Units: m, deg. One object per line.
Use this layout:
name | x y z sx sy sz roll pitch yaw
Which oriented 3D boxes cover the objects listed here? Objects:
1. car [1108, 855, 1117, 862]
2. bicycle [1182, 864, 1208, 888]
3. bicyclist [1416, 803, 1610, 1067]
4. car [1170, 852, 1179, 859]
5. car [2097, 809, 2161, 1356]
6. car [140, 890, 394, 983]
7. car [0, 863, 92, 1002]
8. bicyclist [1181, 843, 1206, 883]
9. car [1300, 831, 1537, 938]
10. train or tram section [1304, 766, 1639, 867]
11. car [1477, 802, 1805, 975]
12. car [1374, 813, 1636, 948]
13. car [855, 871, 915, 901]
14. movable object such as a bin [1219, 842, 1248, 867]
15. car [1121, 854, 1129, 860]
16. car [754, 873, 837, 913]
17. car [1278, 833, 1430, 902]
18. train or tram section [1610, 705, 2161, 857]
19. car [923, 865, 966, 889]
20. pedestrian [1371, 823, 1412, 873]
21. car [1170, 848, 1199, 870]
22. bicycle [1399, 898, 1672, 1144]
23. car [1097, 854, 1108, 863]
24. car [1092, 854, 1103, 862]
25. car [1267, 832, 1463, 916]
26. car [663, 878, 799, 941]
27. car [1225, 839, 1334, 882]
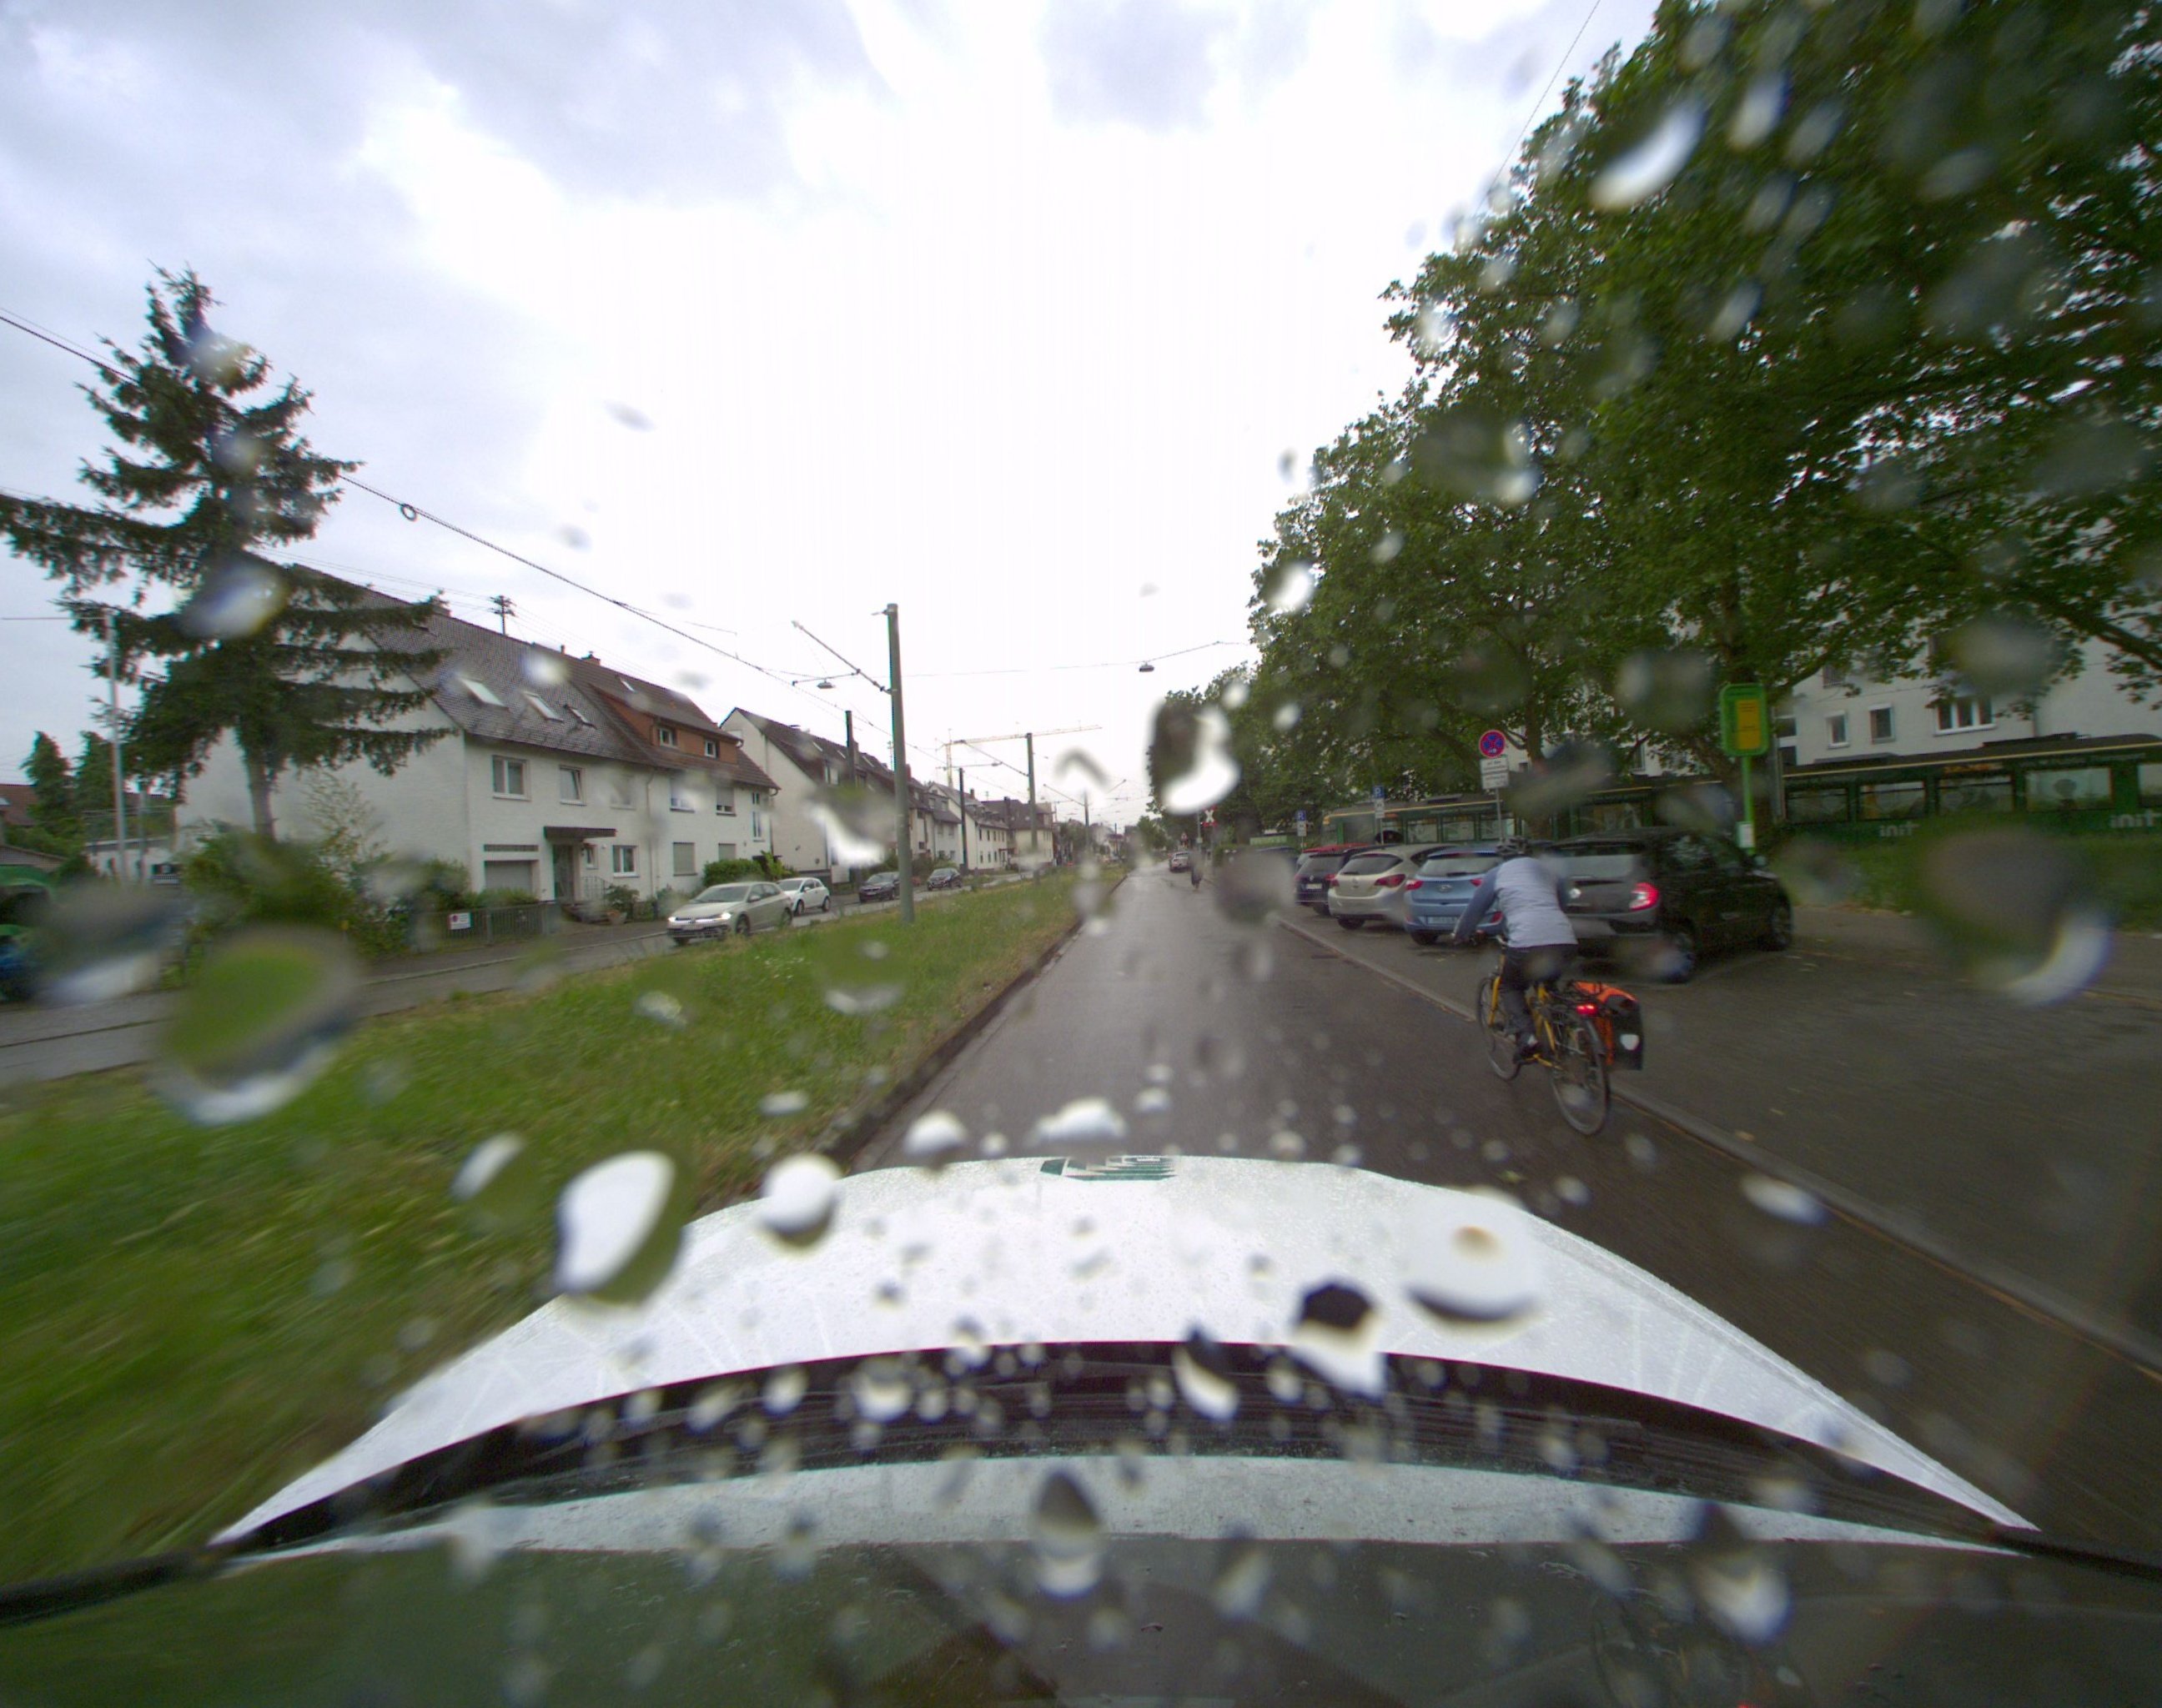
car | 8.333 1.087 212.045 1.983 1.544 4.006 -3 -2 6
bicycle | 4.686 0.896 33.610 0.818 0.912 1.986 -4 -1 2
bicyclist | 2.654 0.462 5.101 0.747 1.485 0.848 -3 1 6
car | 22.192 0.314 193.996 1.984 1.492 4.005 -3 -2 5
car | 5.292 0.487 2.403 4.557 1.476 1.789 -3 0 -25
car | -19.503 1.904 19.815 1.984 1.564 3.901 -3 3 4
car | -21.255 1.512 14.412 5.109 2.406 2.154 -3 -2 4
bicyclist | 4.643 0.380 33.598 0.828 1.558 0.914 -4 -1 2
car | 6.335 0.533 15.240 4.012 1.553 1.942 -4 -1 -29
train or tram section | 17.597 -1.409 38.780 2.728 3.590 14.568 -1 -2 -38
car | 6.523 0.323 9.435 3.529 1.506 1.737 -5 -1 -31
car | 6.538 0.348 12.430 4.018 1.500 1.804 -6 0 -36
car | -10.409 1.704 43.613 1.593 1.424 4.673 -3 -2 5
movable object such as a bin | 11.572 0.046 61.715 1.554 1.704 1.491 -4 0 -19
car | 12.815 0.996 237.492 1.983 1.544 4.006 -3 -2 6
car | -11.388 1.543 32.776 1.593 1.424 3.949 -3 -2 5
car | 7.344 0.353 21.909 3.602 1.480 1.626 -5 0 -22
train or tram section | 26.558 -1.989 27.308 2.728 3.590 14.568 -1 -2 -38
car | -9.371 1.589 56.089 1.868 1.503 4.138 -3 -2 5
pedestrian | 11.468 -0.215 30.101 1.040 1.714 1.082 -4 0 5
car | 8.104 0.405 64.168 1.946 1.553 4.004 -5 -1 4
bicycle | 2.681 0.908 5.099 0.749 1.072 1.930 -3 1 6
car | 4.918 1.009 186.641 1.983 1.705 4.006 -3 -2 6
car | 3.563 0.887 180.230 1.983 1.544 4.006 -3 -2 6
car | 6.537 0.417 18.716 4.133 1.480 1.849 -5 0 -27
car | -9.050 1.398 21.410 1.593 1.424 3.825 -3 -2 5
car | 8.250 0.255 33.850 4.009 1.483 1.982 -4 1 -27
